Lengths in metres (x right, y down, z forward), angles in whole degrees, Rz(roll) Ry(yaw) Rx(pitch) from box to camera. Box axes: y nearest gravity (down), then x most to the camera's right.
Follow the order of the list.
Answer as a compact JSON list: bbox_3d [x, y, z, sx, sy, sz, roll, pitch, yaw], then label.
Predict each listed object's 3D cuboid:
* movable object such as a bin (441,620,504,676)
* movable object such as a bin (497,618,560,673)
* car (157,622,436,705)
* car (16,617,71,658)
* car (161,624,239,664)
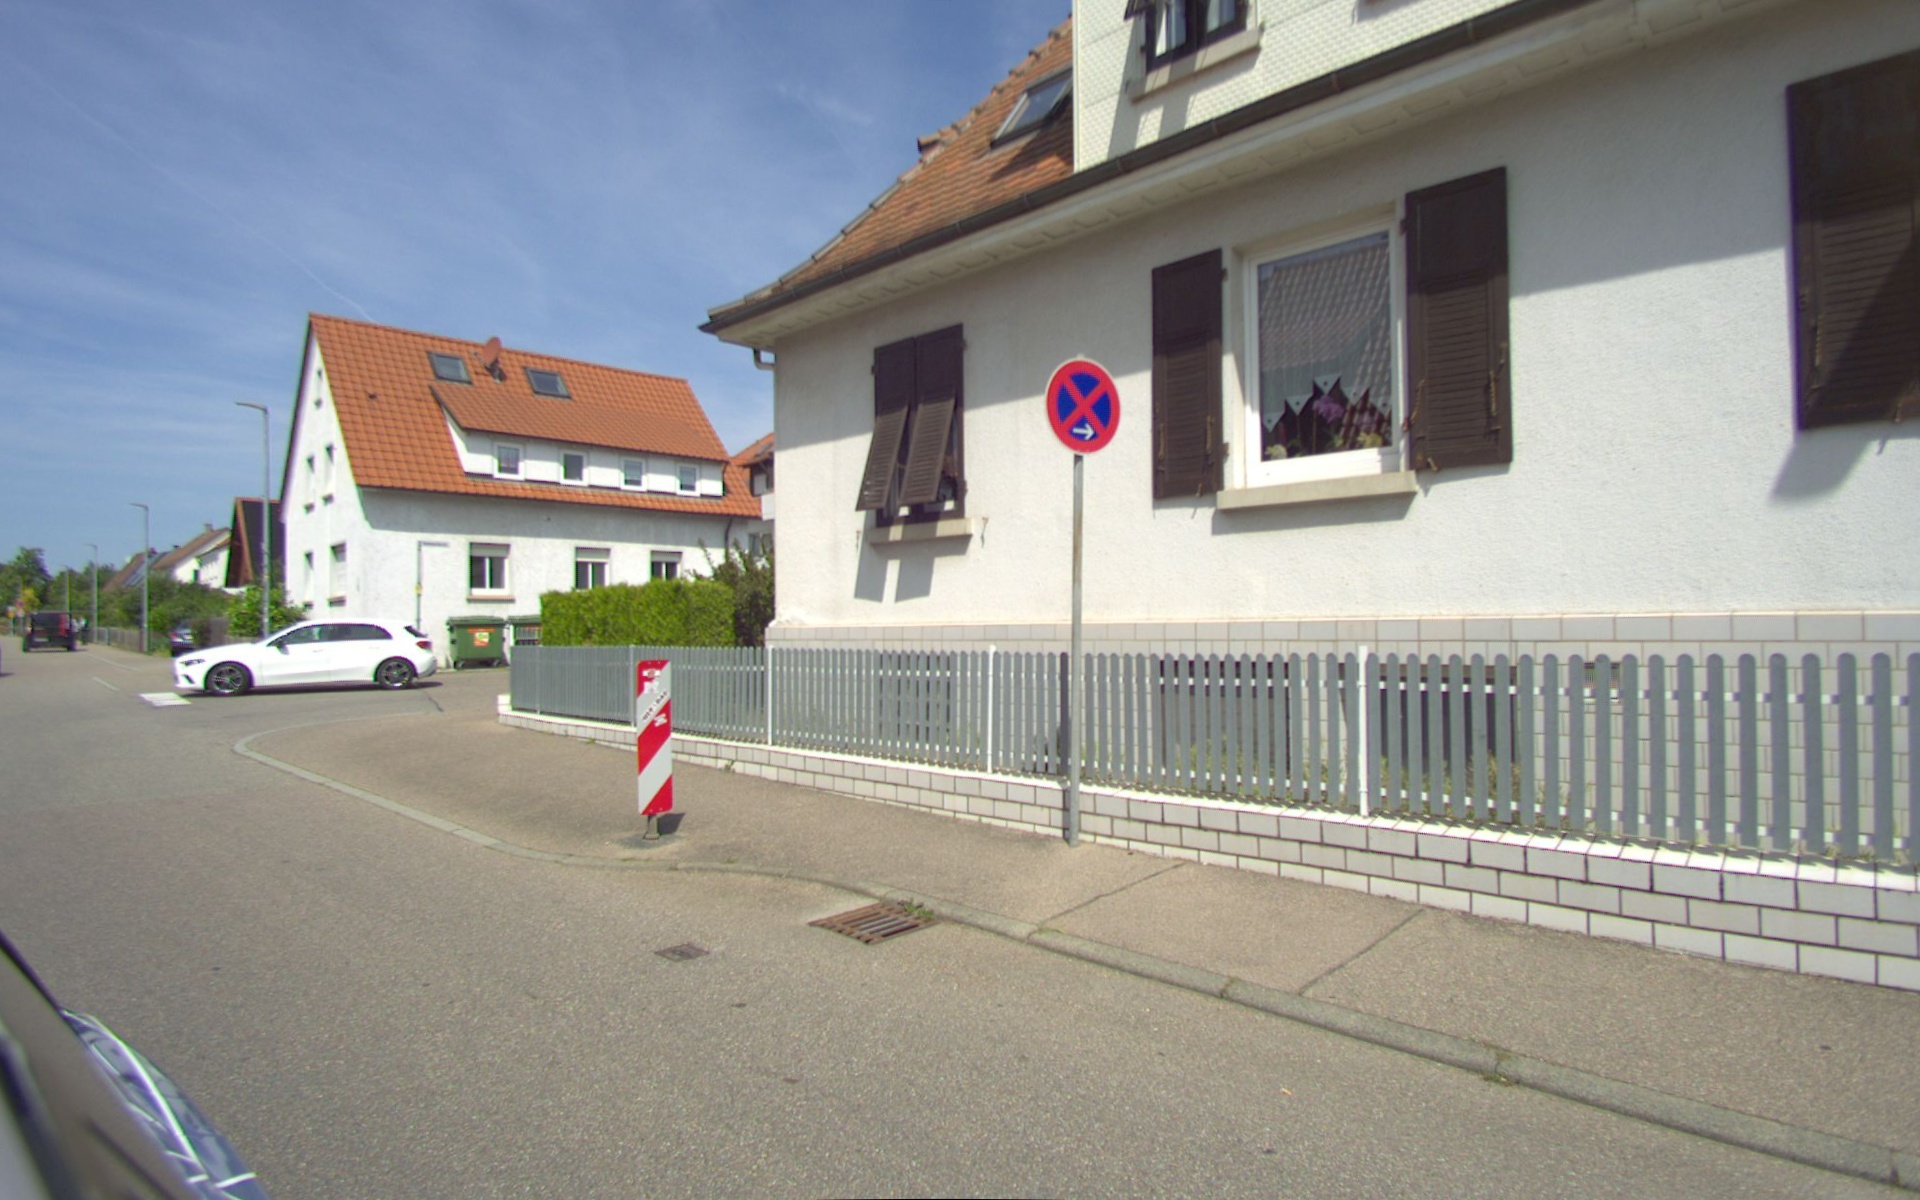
[{"bbox_3d":[-12.284,1.196,25.505,1.246,1.323,1.169,-1,0,-35],"label":"movable object such as a bin"},{"bbox_3d":[-11.246,1.165,26.361,1.246,1.346,1.316,-1,0,-35],"label":"movable object such as a bin"},{"bbox_3d":[-12.908,1.178,20.000,4.418,1.408,1.935,0,-1,-31],"label":"car"},{"bbox_3d":[-46.307,1.857,51.086,1.945,1.966,4.700,0,-1,-44],"label":"car"},{"bbox_3d":[-30.528,1.729,40.775,1.801,1.443,4.577,0,-1,-28],"label":"car"}]
